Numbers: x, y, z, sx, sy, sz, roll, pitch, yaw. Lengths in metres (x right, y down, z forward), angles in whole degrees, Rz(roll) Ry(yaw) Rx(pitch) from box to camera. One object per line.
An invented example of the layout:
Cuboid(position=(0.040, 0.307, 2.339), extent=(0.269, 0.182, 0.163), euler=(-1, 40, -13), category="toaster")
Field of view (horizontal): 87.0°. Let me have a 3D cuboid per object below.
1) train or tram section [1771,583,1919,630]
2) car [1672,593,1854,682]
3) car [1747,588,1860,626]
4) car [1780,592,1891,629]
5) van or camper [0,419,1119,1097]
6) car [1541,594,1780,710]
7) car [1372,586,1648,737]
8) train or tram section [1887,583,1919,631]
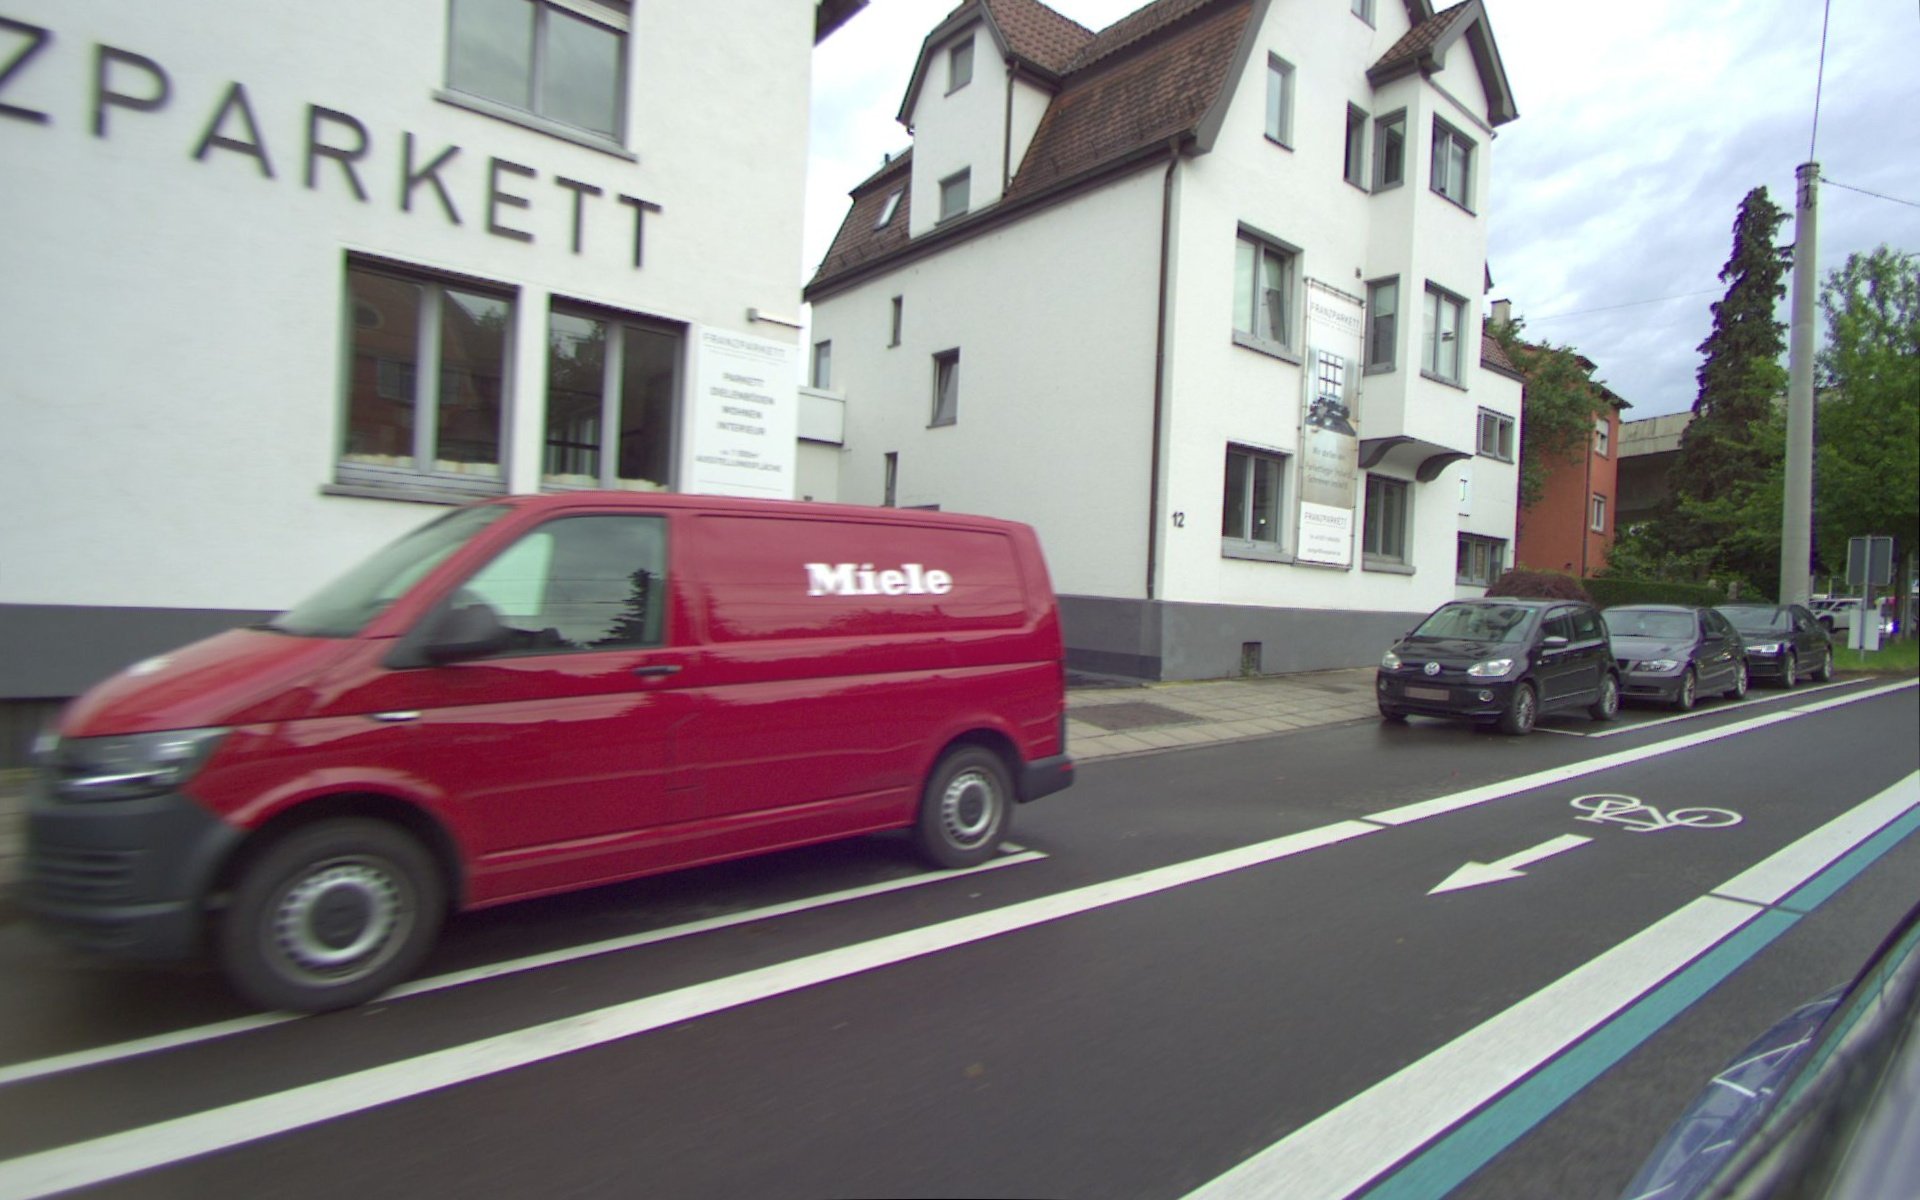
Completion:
Cuboid(position=(84.231, 0.554, 96.702), extent=(2.835, 4.021, 19.240), euler=(-1, 0, 15), category="train or tram section")
Cuboid(position=(14.784, 0.594, 18.545), extent=(4.483, 1.441, 1.681), euler=(0, 1, -39), category="car")
Cuboid(position=(38.980, 0.319, 46.803), extent=(3.940, 1.651, 1.971), euler=(1, 0, -11), category="car")
Cuboid(position=(38.149, 0.443, 44.129), extent=(3.658, 1.541, 1.806), euler=(1, 0, -11), category="car")
Cuboid(position=(-1.541, 0.419, 5.113), extent=(4.906, 1.944, 1.855), euler=(0, 2, -40), category="van or camper")
Cuboid(position=(10.434, 0.650, 14.951), extent=(4.483, 1.430, 1.716), euler=(0, 1, -39), category="car")
Cuboid(position=(6.642, 0.603, 12.099), extent=(3.652, 1.469, 1.582), euler=(-1, 2, -38), category="car")
Cuboid(position=(78.963, 0.589, 78.148), extent=(2.838, 4.011, 19.223), euler=(-1, 0, 17), category="train or tram section")
